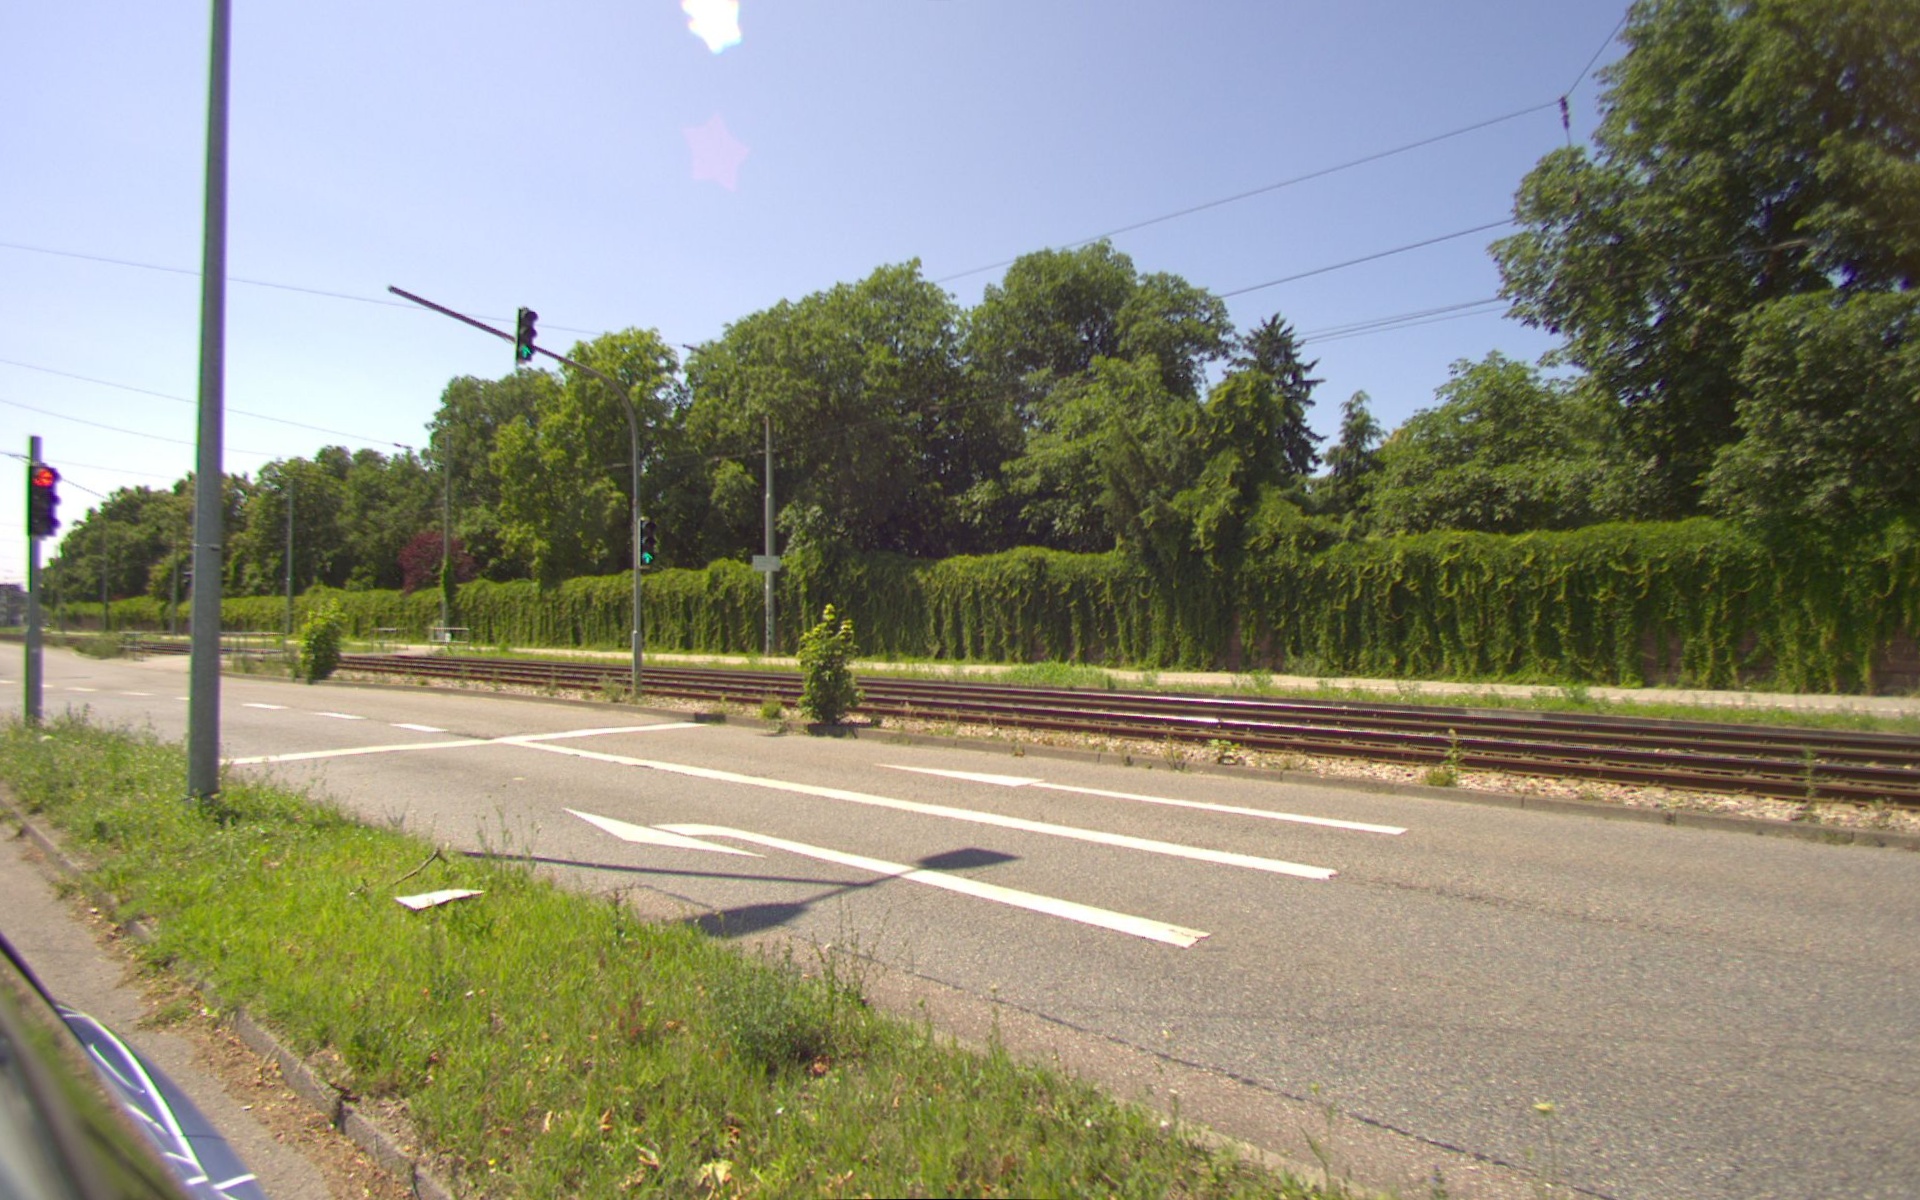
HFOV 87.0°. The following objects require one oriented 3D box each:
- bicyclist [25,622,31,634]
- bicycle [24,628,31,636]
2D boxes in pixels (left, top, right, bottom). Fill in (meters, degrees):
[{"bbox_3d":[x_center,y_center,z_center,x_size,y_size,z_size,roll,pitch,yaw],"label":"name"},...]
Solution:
[{"bbox_3d":[-129.967,3.934,141.095,0.769,1.624,0.477,-1,0,43],"label":"bicyclist"},{"bbox_3d":[-130.074,4.497,141.201,1.978,1.063,0.609,-1,0,44],"label":"bicycle"}]
